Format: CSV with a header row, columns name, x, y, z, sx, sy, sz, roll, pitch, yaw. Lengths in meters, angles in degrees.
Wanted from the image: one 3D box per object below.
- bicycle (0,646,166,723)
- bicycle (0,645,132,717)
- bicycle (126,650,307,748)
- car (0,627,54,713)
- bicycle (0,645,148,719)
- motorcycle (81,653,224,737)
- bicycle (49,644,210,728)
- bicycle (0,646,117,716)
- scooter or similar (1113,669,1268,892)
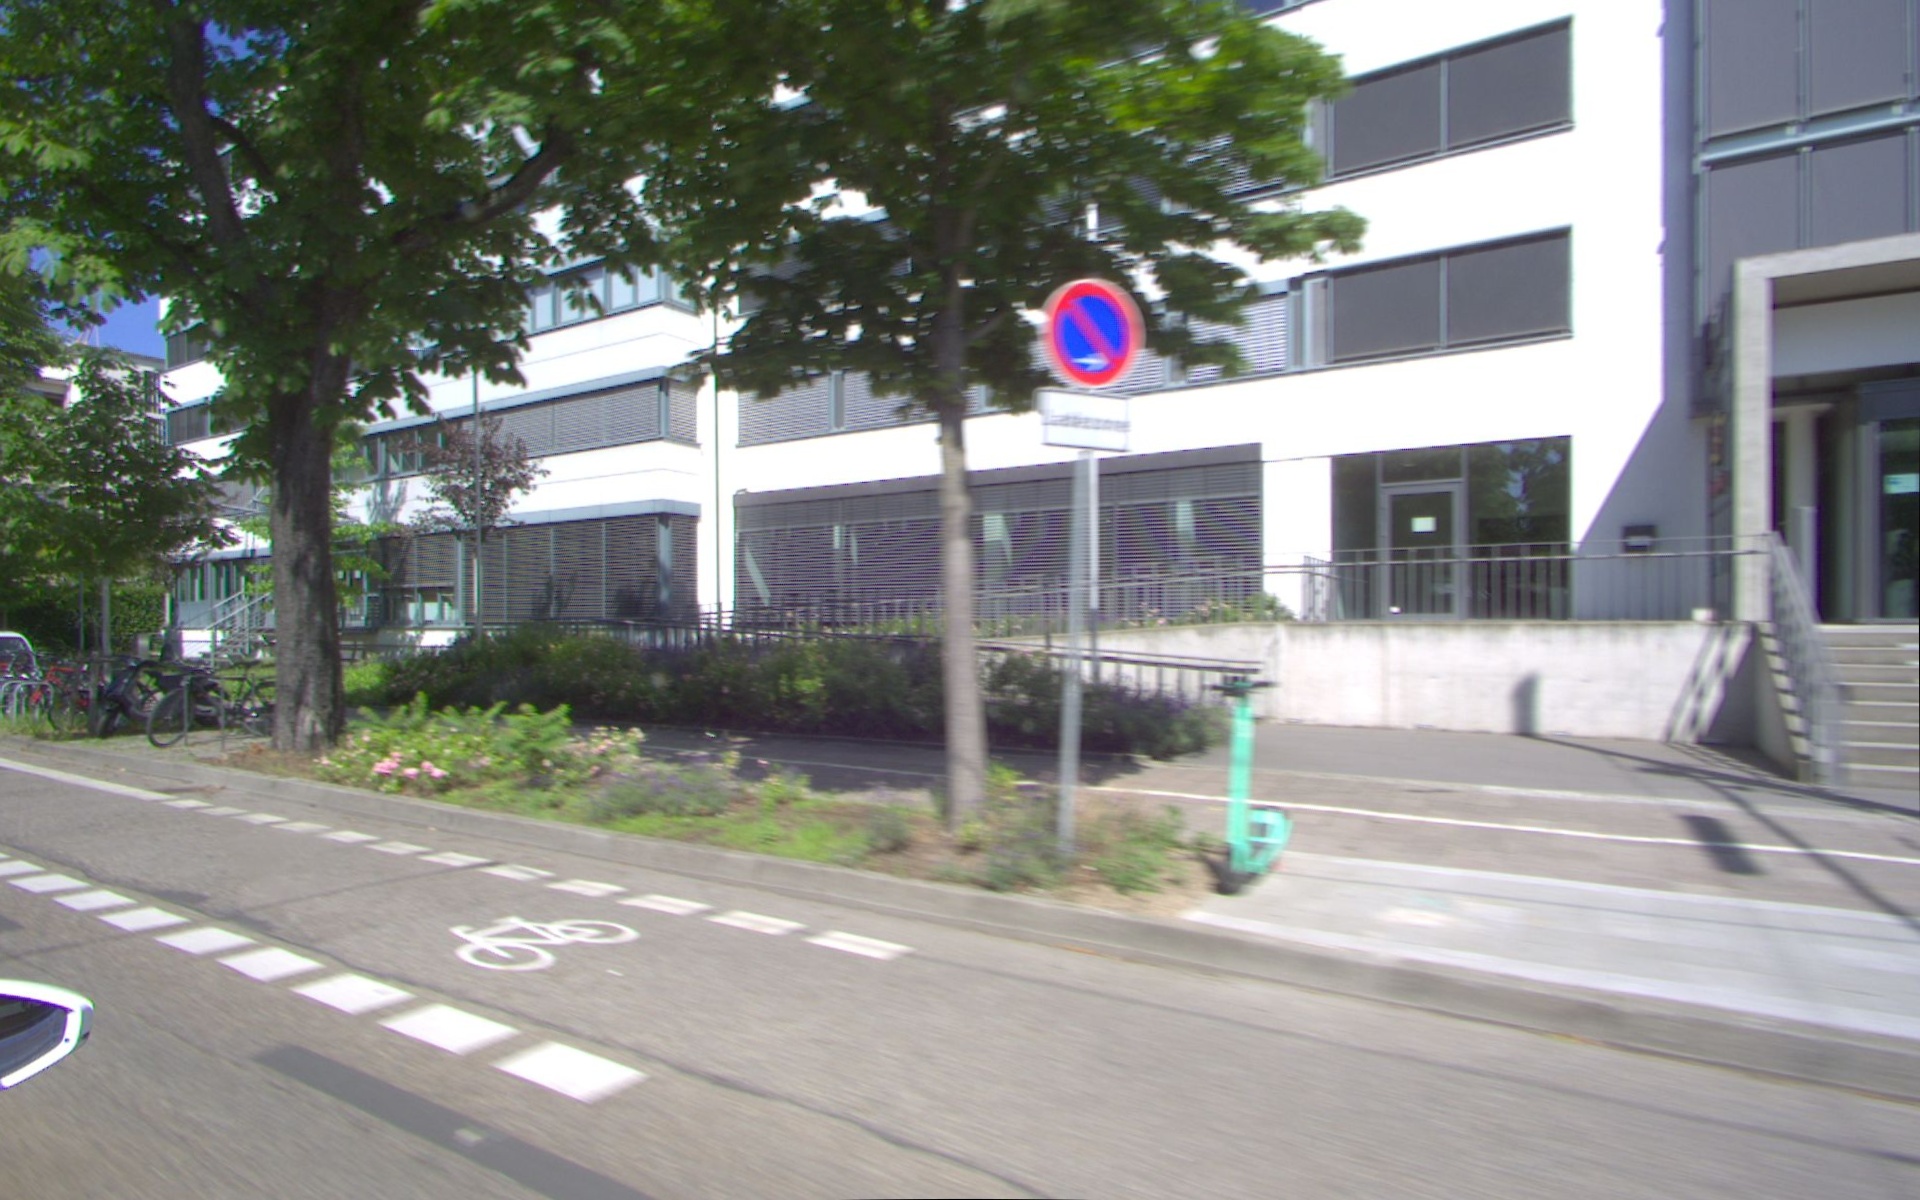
name,x,y,z,sx,sy,sz,roll,pitch,yaw
bicycle,-13.557,1.280,15.478,0.542,1.096,1.911,0,-3,29
bicycle,-14.597,1.294,16.067,0.542,1.096,1.911,0,-4,29
bicycle,-9.435,1.217,12.781,0.587,1.097,1.772,0,-1,29
car,-18.354,1.250,18.417,3.890,1.470,1.587,-1,-1,33
bicycle,-14.076,1.280,15.761,0.542,1.096,1.911,0,-4,29
motorcycle,-11.208,1.290,13.948,0.526,1.060,1.464,0,-1,29
bicycle,-12.399,1.248,15.010,0.587,1.134,1.772,0,-1,29
bicycle,-15.122,1.318,16.421,0.542,1.096,1.885,0,-3,29
scooter or similar,1.422,1.029,6.081,0.487,1.169,1.139,0,-1,38
